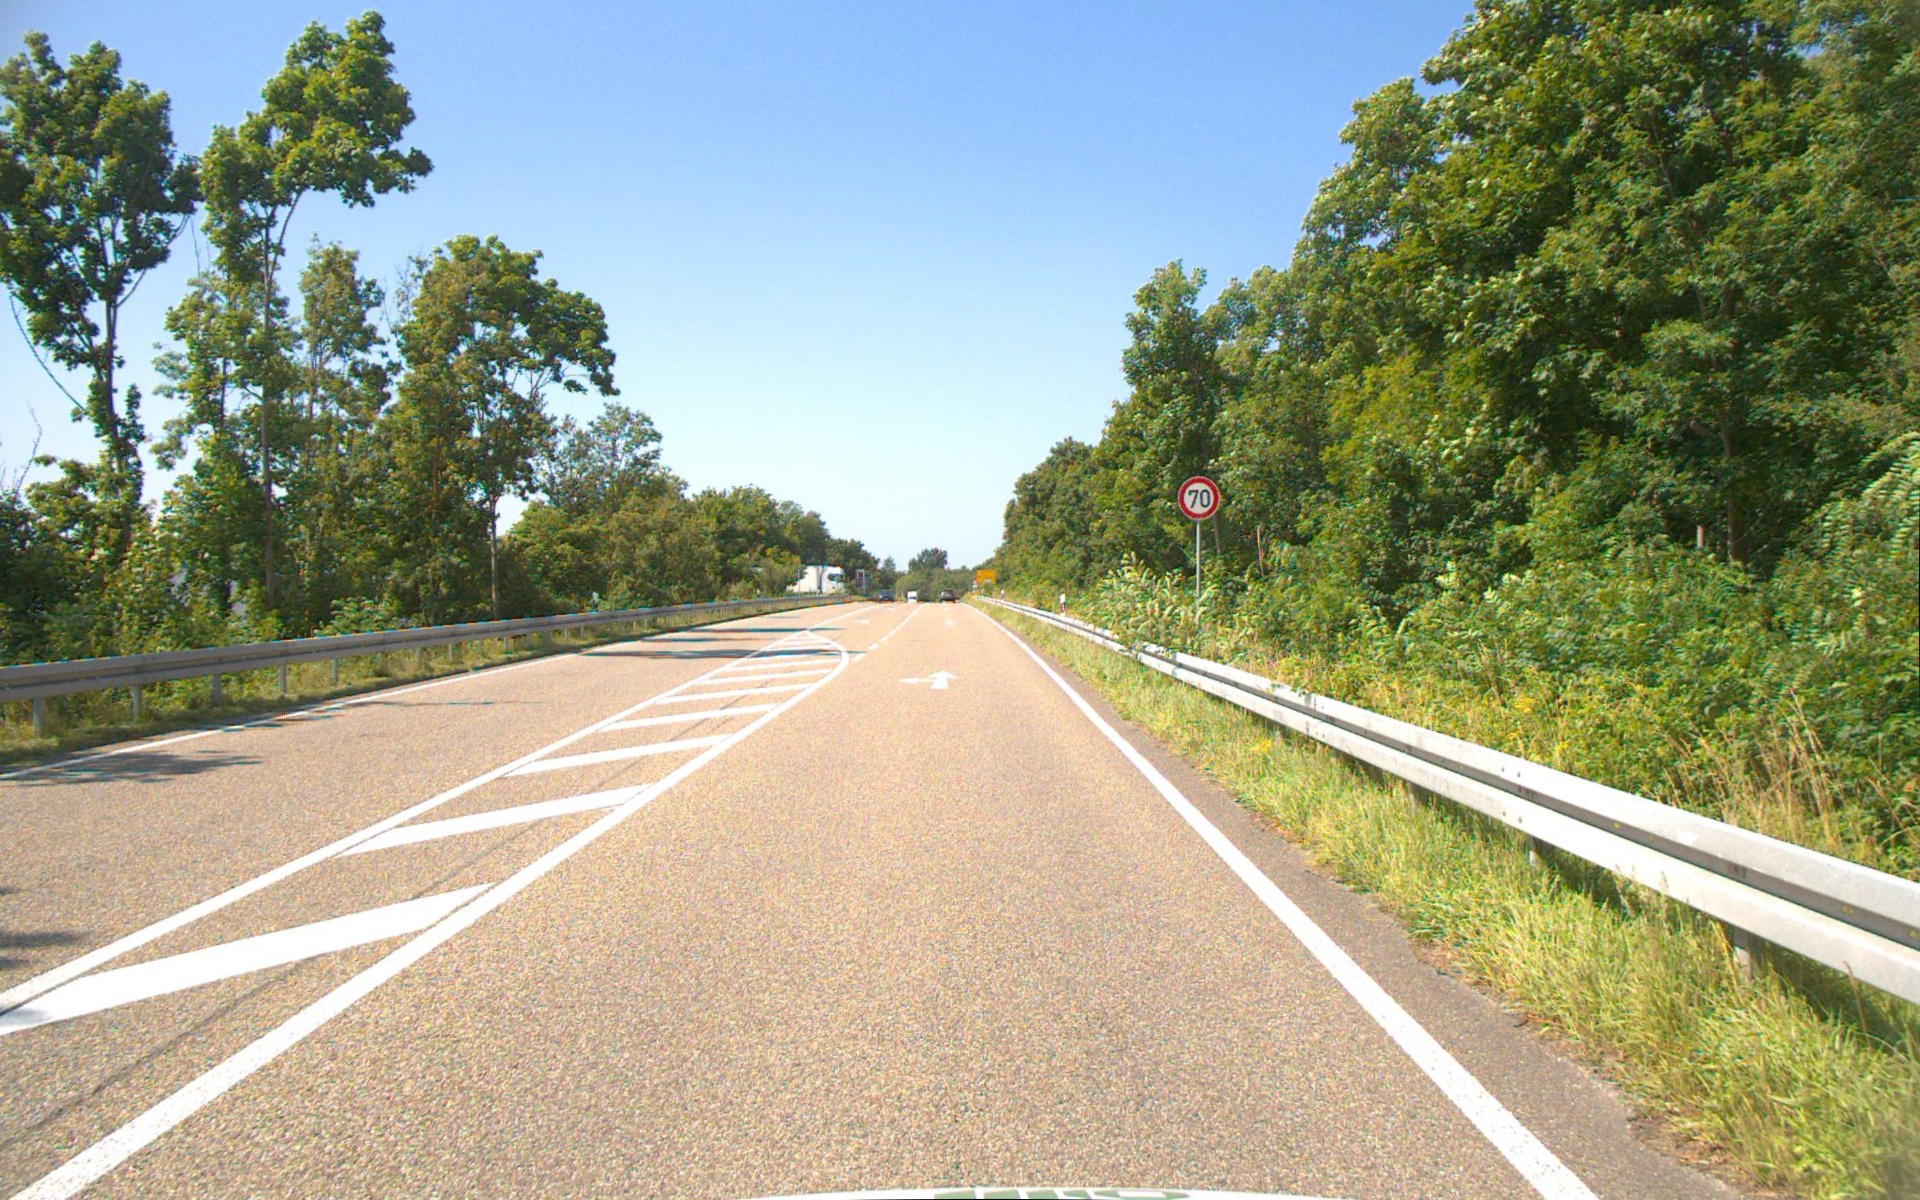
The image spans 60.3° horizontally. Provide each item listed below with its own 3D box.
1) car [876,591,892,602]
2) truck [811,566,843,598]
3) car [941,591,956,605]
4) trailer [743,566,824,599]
[{"bbox_3d":[-8.903,-0.382,193.730,1.695,1.289,3.905,0,0,-1],"label":"car"},{"bbox_3d":[-14.993,-1.984,187.003,3.394,3.599,2.000,0,0,1],"label":"truck"},{"bbox_3d":[-1.355,-0.255,189.046,1.705,1.496,3.692,0,0,-1],"label":"car"},{"bbox_3d":[-19.911,-2.002,187.088,8.914,3.641,2.000,0,0,1],"label":"trailer"}]
